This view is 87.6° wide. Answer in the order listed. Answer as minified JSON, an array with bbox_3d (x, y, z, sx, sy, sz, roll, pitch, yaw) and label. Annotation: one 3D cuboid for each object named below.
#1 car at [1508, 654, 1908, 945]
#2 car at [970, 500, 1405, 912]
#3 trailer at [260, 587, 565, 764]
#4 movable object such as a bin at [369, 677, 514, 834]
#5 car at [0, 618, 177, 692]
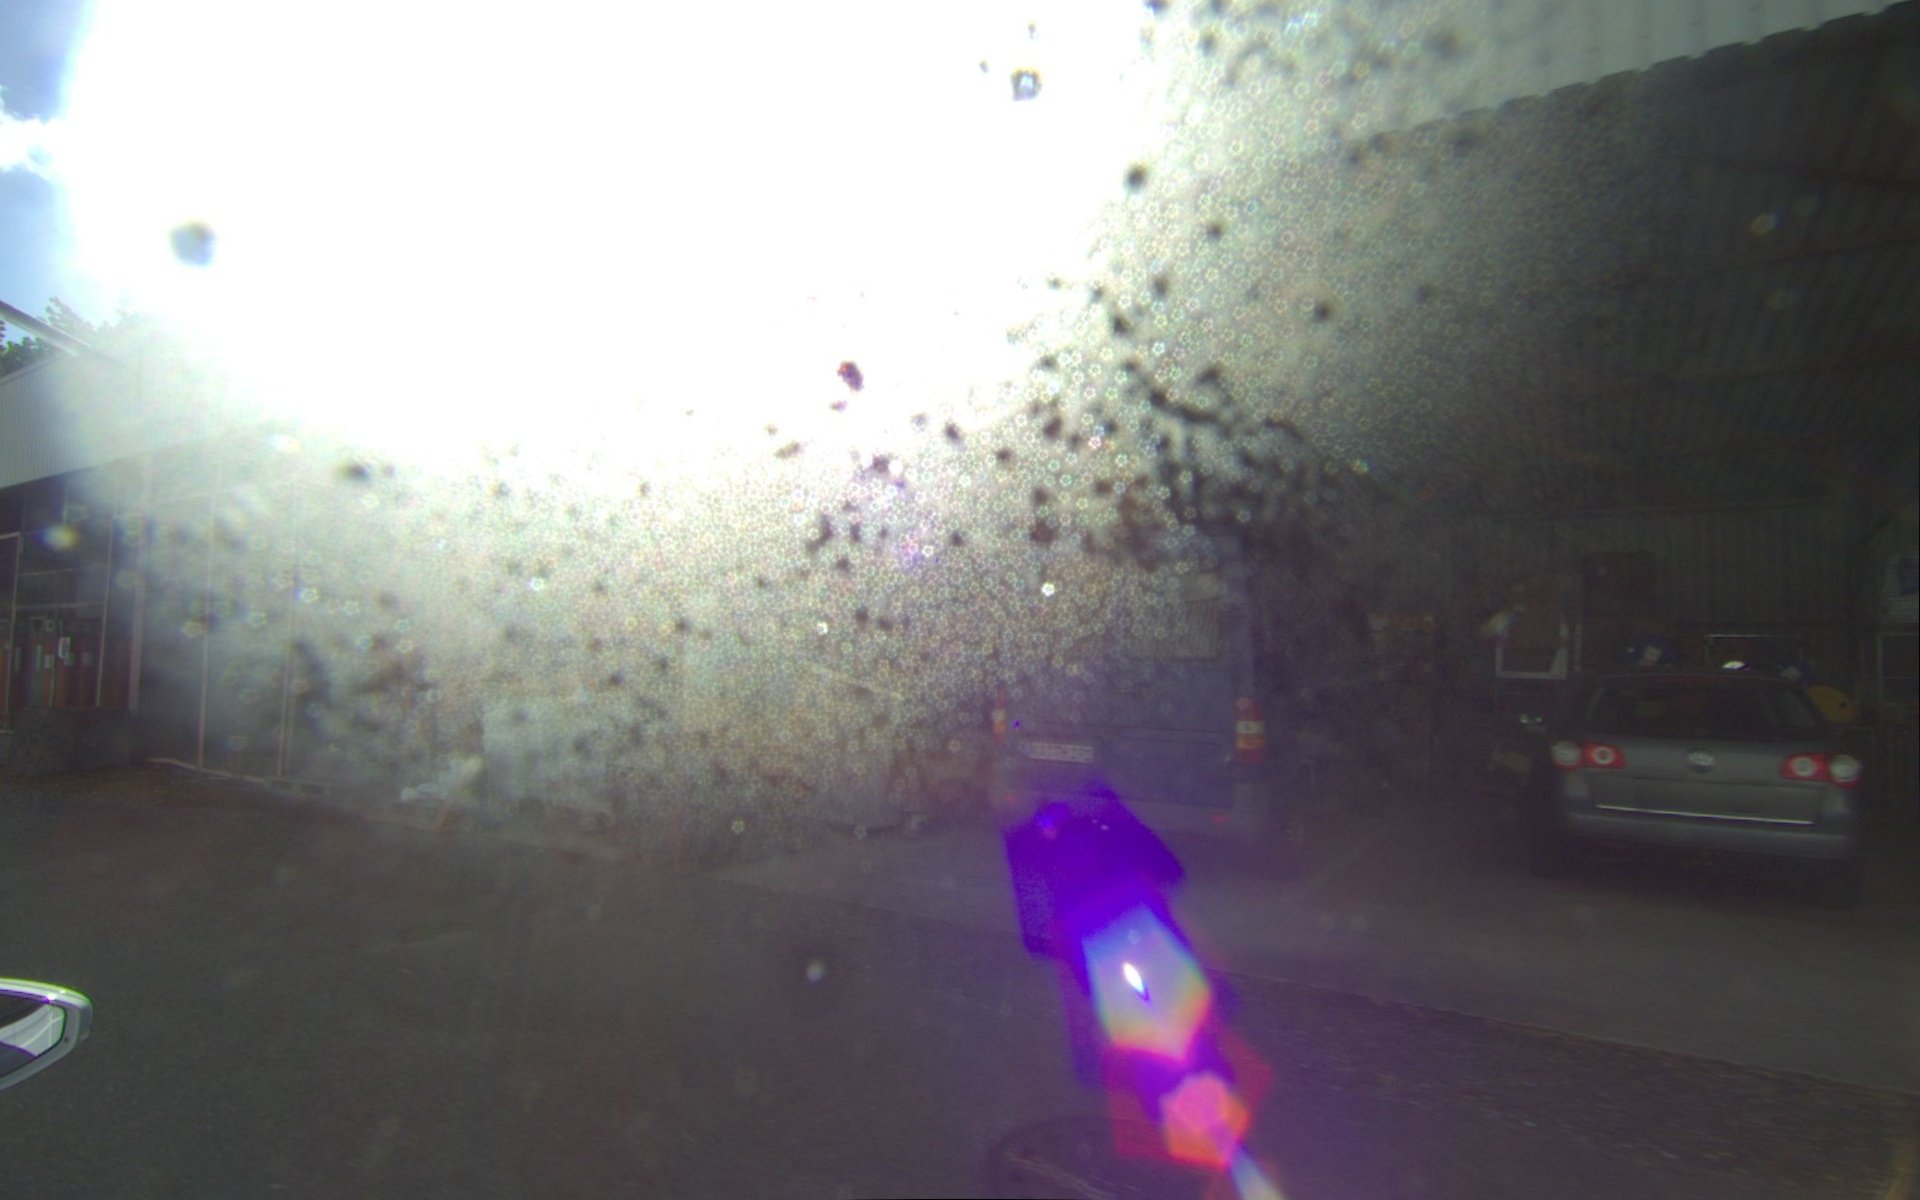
[{"bbox_3d":[5.121,1.192,7.445,1.760,1.490,3.987,0,-4,28],"label":"car"},{"bbox_3d":[2.252,0.776,8.374,1.972,2.354,4.973,-1,-4,33],"label":"car"},{"bbox_3d":[-7.507,0.962,13.664,4.039,2.084,1.853,-1,-3,32],"label":"trailer"},{"bbox_3d":[-4.352,1.256,8.392,1.222,1.179,0.580,-1,-3,37],"label":"movable object such as a bin"},{"bbox_3d":[-25.138,1.525,27.589,1.968,1.899,5.239,0,-4,27],"label":"car"}]
